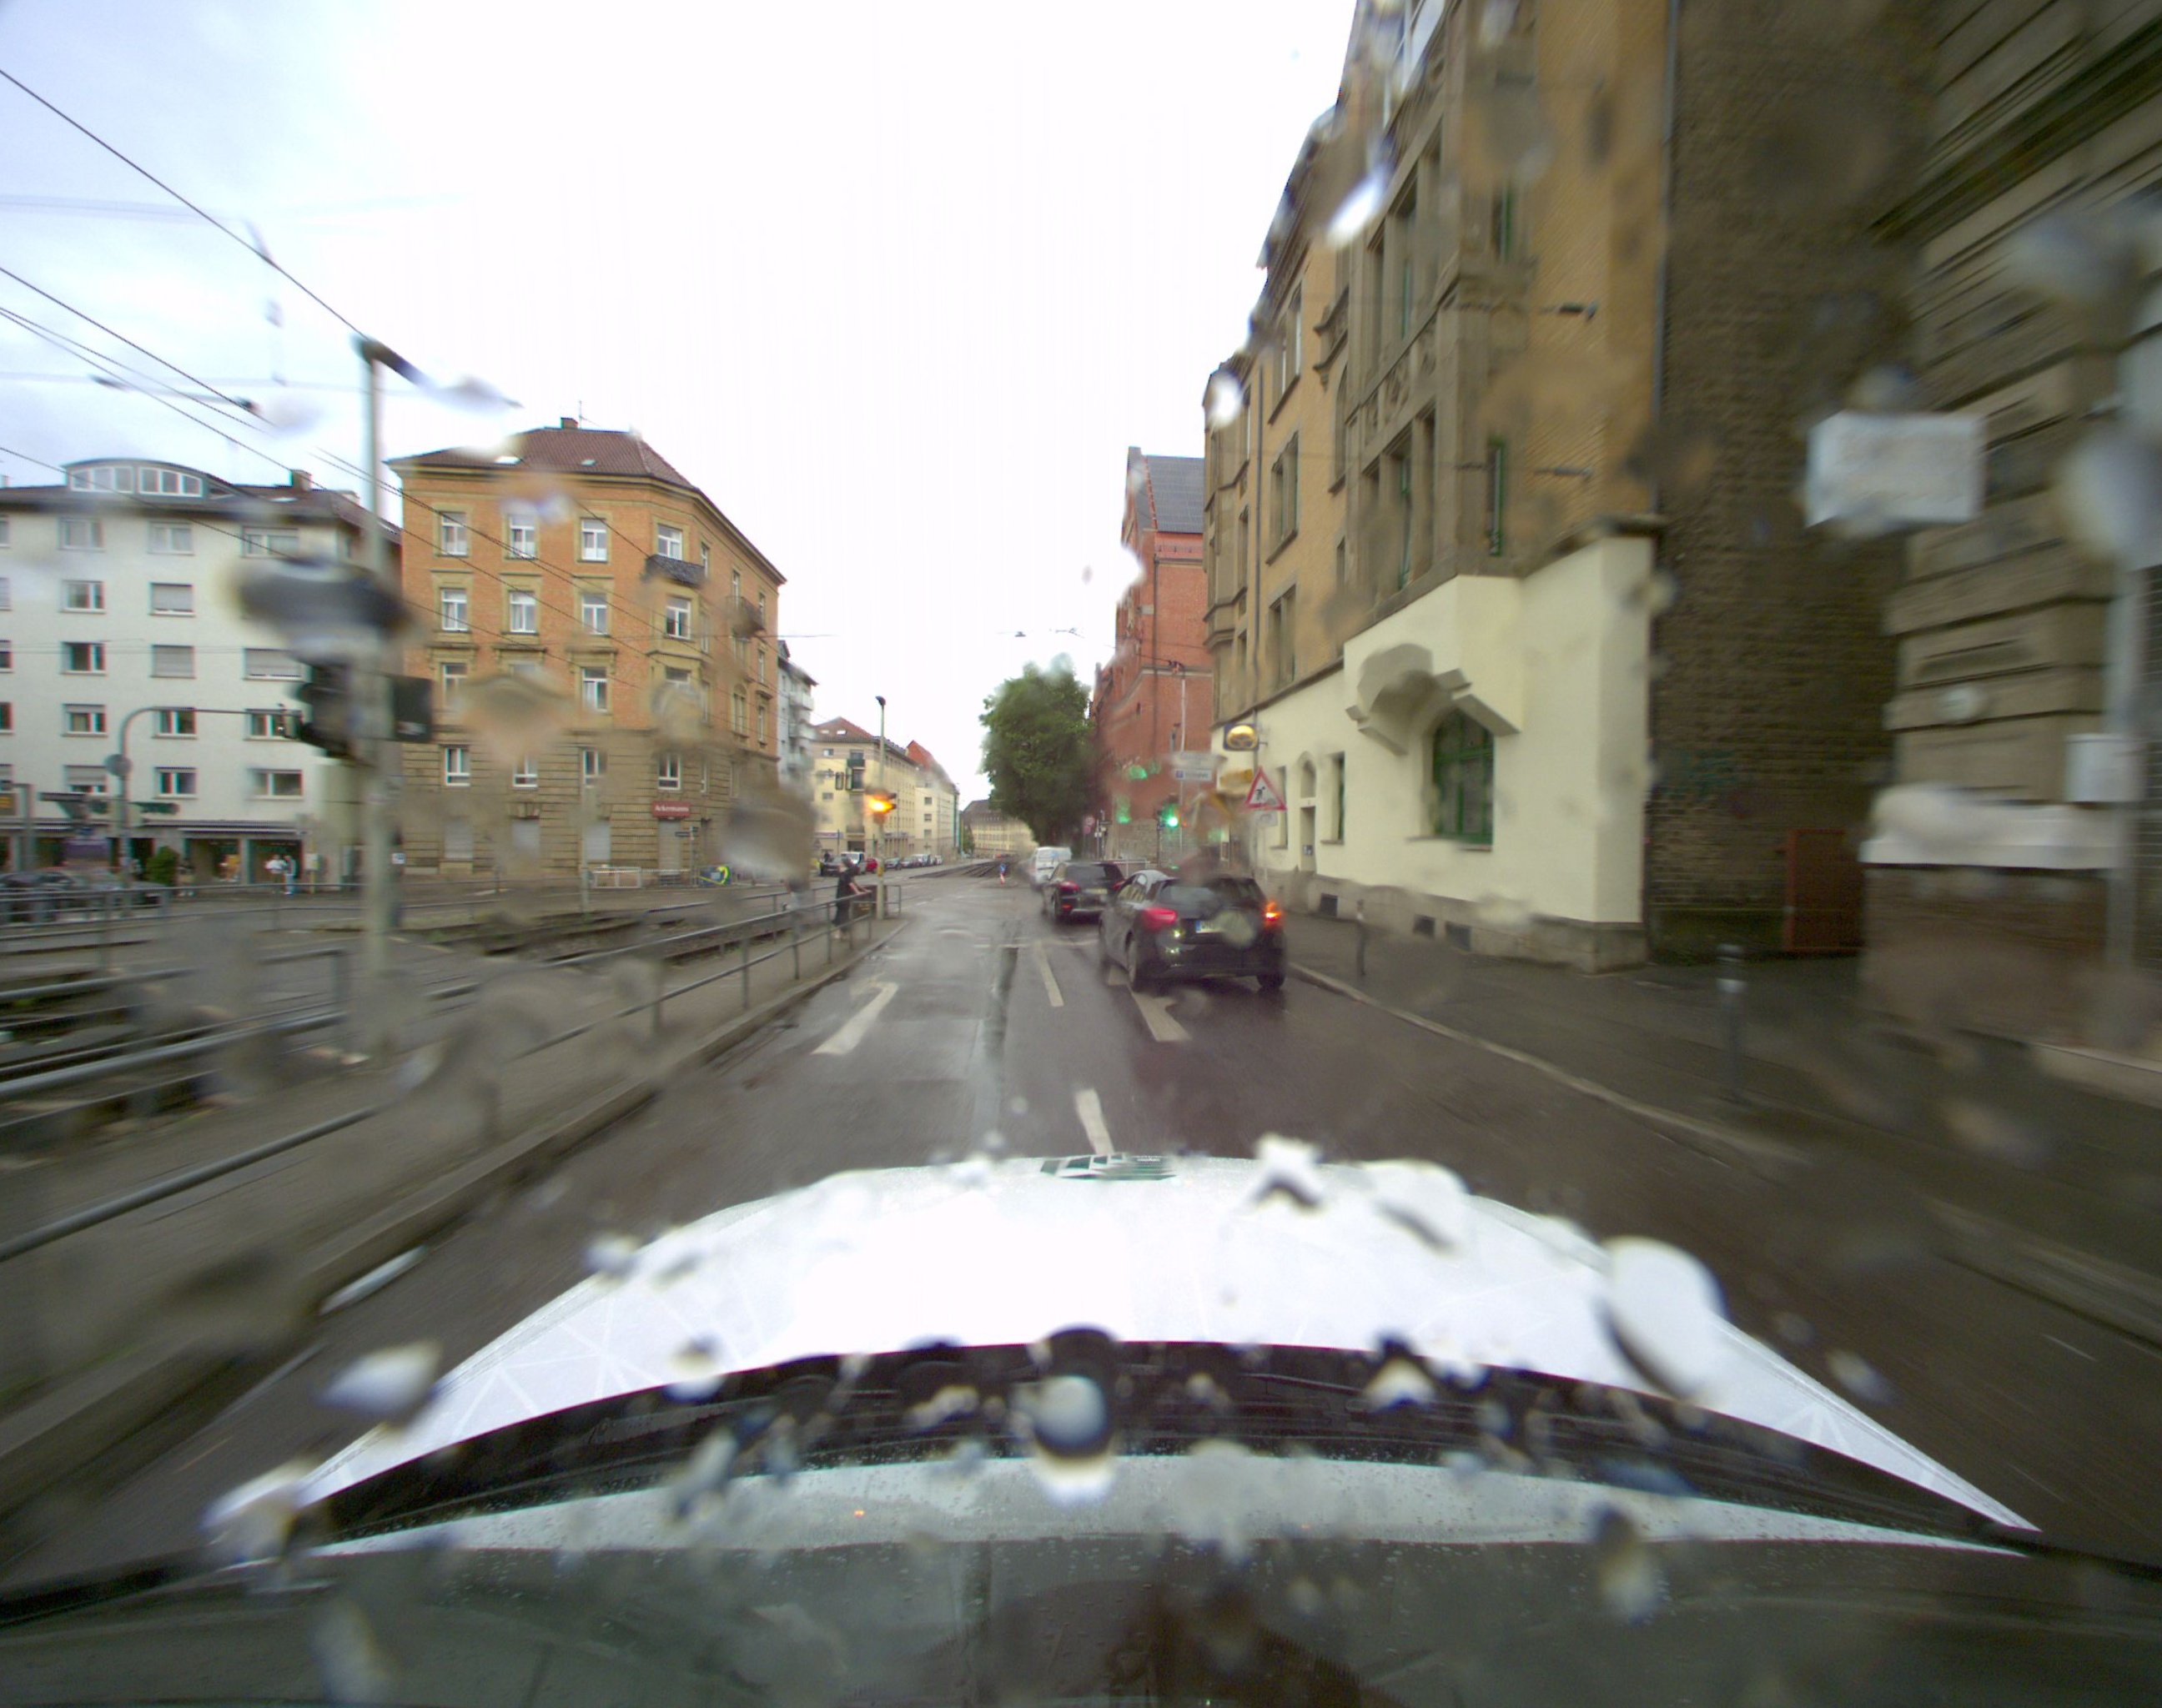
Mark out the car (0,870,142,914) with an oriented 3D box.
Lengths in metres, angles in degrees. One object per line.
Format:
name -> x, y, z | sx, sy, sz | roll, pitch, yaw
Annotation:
car -> -38.831, 1.433, 30.972 | 3.981, 1.582, 1.633 | 1, -1, -6

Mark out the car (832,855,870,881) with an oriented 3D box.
car -> -19.535, 1.169, 69.411 | 2.066, 2.009, 5.293 | 3, 0, -4

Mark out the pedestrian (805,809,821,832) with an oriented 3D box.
pedestrian -> -23.802, -2.950, 72.302 | 1.172, 1.929, 1.173 | 0, 0, -11

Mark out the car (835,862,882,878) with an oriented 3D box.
car -> -20.190, 1.431, 74.113 | 1.763, 1.434, 4.007 | 0, -1, 30

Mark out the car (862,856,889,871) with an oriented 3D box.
car -> -20.246, 0.921, 80.370 | 1.649, 1.451, 4.070 | 0, 0, -2

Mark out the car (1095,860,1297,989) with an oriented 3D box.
car -> 1.294, 0.781, 10.788 | 1.791, 1.375, 3.993 | 1, -1, -5

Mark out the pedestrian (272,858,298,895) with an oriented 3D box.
pedestrian -> -36.235, 1.033, 37.064 | 0.597, 1.668, 0.597 | -1, -1, 6

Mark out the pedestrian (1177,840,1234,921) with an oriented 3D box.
pedestrian -> 2.788, 0.583, 18.289 | 1.014, 1.720, 0.929 | -3, -1, -3

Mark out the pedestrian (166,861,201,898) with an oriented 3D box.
pedestrian -> -40.529, 1.146, 36.781 | 0.827, 1.670, 0.667 | 0, -1, -1

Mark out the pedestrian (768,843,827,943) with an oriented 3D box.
pedestrian -> -5.262, 0.700, 15.152 | 0.824, 1.799, 0.999 | 0, -1, -6

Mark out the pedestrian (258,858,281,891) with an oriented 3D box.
pedestrian -> -37.118, 0.932, 37.266 | 0.529, 1.537, 0.498 | 0, 0, 0

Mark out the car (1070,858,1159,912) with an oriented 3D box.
car -> 0.886, 0.848, 24.069 | 1.932, 1.453, 4.306 | 1, -1, -7

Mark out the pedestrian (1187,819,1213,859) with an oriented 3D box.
pedestrian -> 5.788, -0.711, 39.659 | 0.956, 1.887, 1.071 | -2, 0, -5

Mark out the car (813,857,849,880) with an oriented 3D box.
car -> -19.256, 1.098, 62.840 | 1.730, 1.651, 4.356 | 0, 0, -5

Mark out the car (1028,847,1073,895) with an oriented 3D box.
car -> -1.386, 0.725, 35.793 | 1.738, 2.014, 3.895 | 0, -1, -6

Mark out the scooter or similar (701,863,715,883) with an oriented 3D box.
scooter or similar -> -18.566, 0.931, 40.509 | 0.557, 0.945, 0.572 | 0, 0, -35

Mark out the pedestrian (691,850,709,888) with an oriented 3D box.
pedestrian -> -18.357, 0.712, 39.228 | 0.630, 1.766, 0.633 | -3, 4, -37

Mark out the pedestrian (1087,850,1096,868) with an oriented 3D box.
pedestrian -> 1.011, 0.485, 76.588 | 0.821, 1.678, 0.859 | 0, -1, -2

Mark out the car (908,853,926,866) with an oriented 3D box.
car -> -22.896, 0.748, 113.976 | 1.863, 1.717, 4.454 | 0, 0, -4

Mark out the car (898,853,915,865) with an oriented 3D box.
car -> -21.889, 0.670, 102.501 | 1.851, 1.508, 4.975 | 0, 0, -9

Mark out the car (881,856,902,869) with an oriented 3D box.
car -> -20.751, 0.919, 89.245 | 1.677, 1.396, 4.613 | 0, 0, -6

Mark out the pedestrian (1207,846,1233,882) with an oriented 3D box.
pedestrian -> 6.595, 0.472, 38.675 | 0.956, 1.625, 1.071 | -2, 0, -5

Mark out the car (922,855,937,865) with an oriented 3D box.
car -> -24.112, 0.882, 129.486 | 1.810, 1.499, 4.575 | 1, 0, -4

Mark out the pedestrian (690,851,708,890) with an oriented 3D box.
pedestrian -> -18.343, 0.765, 39.084 | 0.630, 1.840, 0.633 | -1, 0, -37

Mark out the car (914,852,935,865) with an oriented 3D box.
car -> -23.092, 0.680, 120.186 | 1.987, 1.905, 5.457 | 1, 0, -1

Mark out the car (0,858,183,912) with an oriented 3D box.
car -> -34.113, 1.038, 28.087 | 3.981, 1.665, 1.838 | -1, 0, -5

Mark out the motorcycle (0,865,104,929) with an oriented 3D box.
motorcycle -> -23.553, 0.945, 17.914 | 2.651, 1.371, 0.863 | -1, -1, -11

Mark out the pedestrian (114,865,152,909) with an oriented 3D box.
pedestrian -> -43.732, 1.506, 37.570 | 0.860, 2.014, 0.768 | 0, -1, 0

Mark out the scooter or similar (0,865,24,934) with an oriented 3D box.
scooter or similar -> -22.311, 0.912, 16.221 | 1.507, 1.371, 0.450 | 0, -1, -21

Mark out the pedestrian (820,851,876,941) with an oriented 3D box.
pedestrian -> -4.311, 0.764, 15.153 | 0.833, 1.604, 0.999 | 0, -1, -6
